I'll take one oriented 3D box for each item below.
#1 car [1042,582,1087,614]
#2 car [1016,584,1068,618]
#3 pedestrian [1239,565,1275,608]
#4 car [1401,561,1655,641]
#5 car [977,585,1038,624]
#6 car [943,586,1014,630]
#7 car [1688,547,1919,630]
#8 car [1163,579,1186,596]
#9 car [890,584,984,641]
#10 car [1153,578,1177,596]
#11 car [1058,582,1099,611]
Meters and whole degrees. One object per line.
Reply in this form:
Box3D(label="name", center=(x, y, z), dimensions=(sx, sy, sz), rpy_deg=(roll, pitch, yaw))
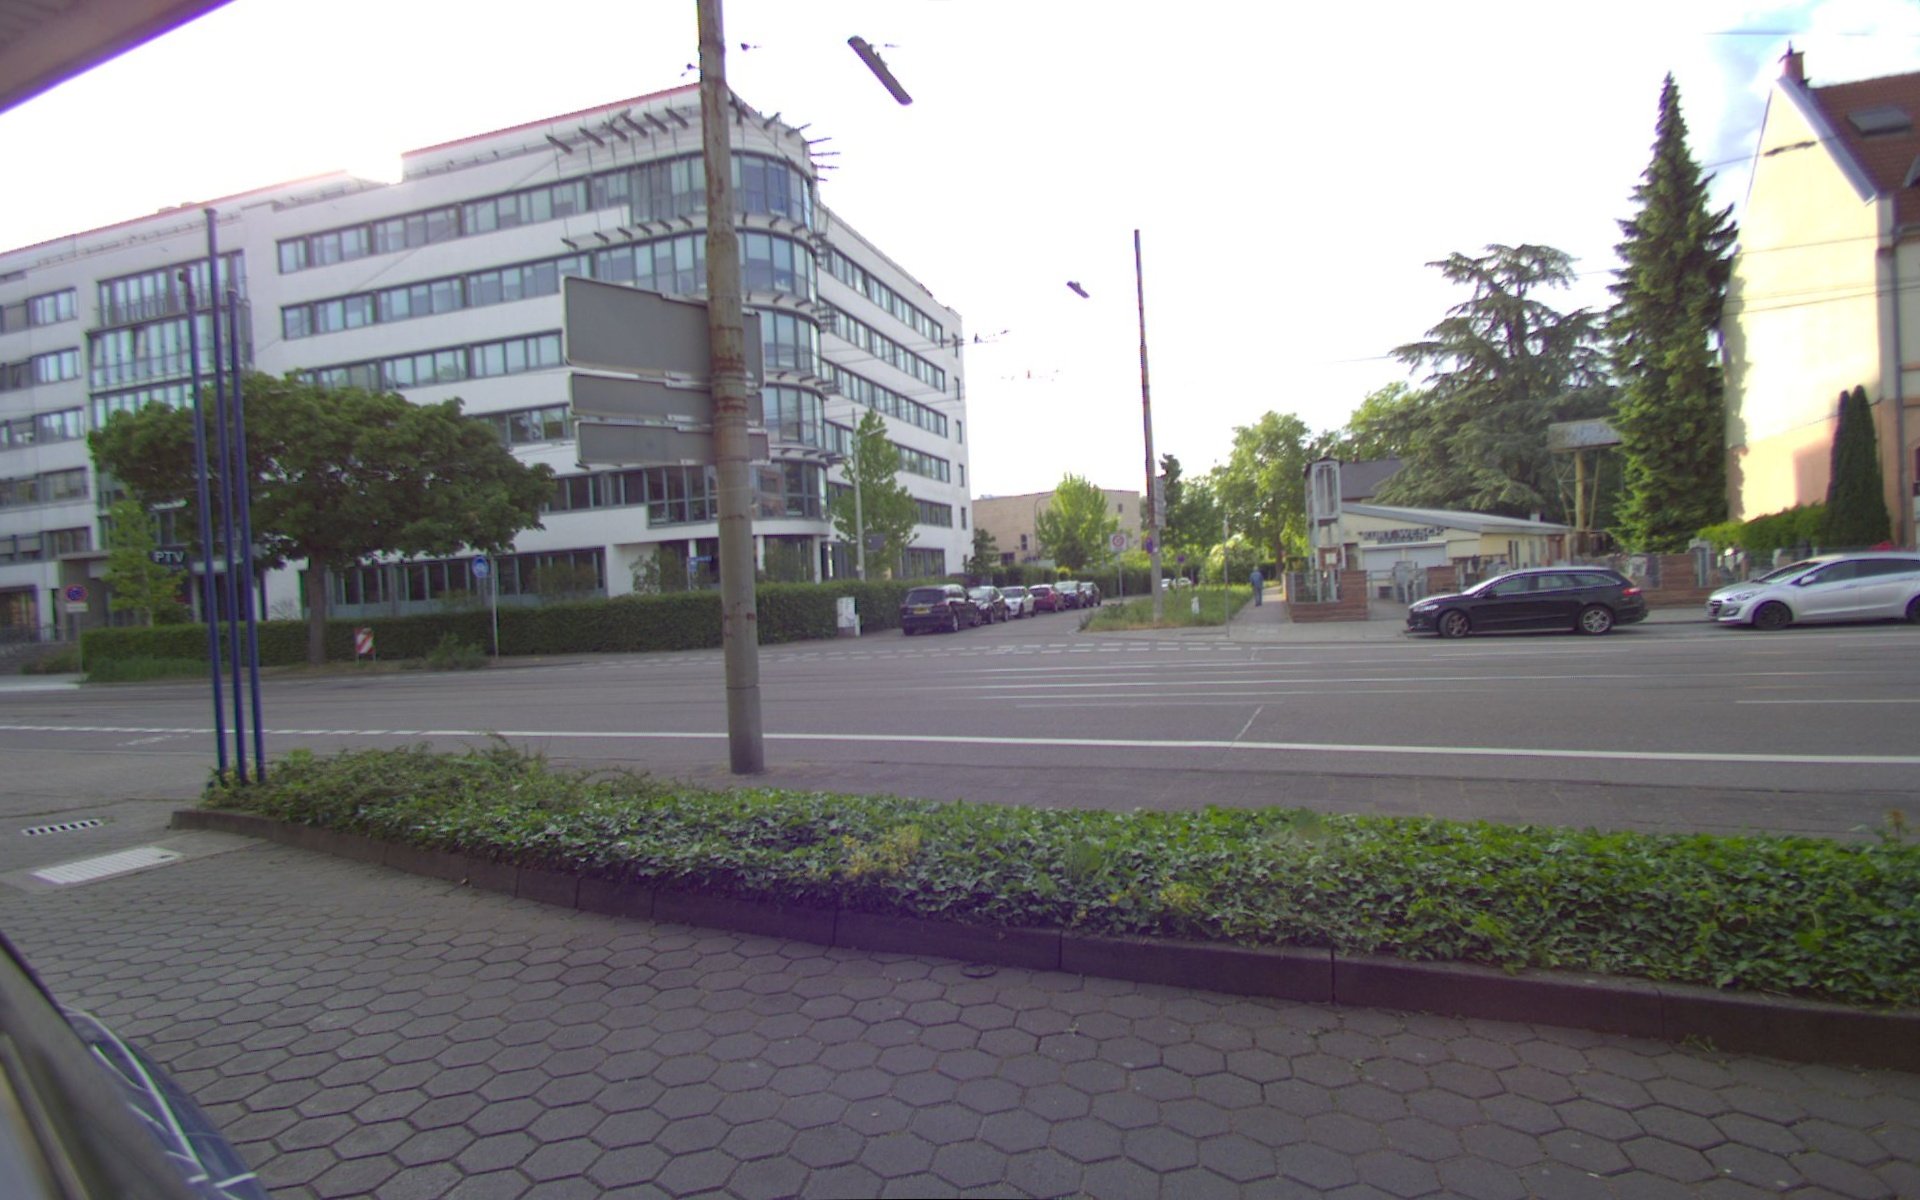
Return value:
Box3D(label="car", center=(5.982, -0.137, 57.661), dimensions=(1.773, 1.653, 4.064), rpy_deg=(-4, 0, 17))
Box3D(label="car", center=(4.288, 0.022, 52.360), dimensions=(1.773, 1.552, 4.018), rpy_deg=(-4, 0, 17))
Box3D(label="pedestrian", center=(12.979, -0.570, 44.250), dimensions=(1.074, 1.843, 1.009), rpy_deg=(-1, 0, -30))
Box3D(label="car", center=(12.917, 0.041, 23.415), dimensions=(4.791, 1.507, 1.986), rpy_deg=(-4, 0, 22))
Box3D(label="car", center=(2.207, 0.174, 45.755), dimensions=(1.773, 1.565, 4.083), rpy_deg=(-4, 0, 17))
Box3D(label="car", center=(0.799, 0.287, 40.893), dimensions=(1.773, 1.565, 4.083), rpy_deg=(-4, 0, 17))
Box3D(label="car", center=(18.493, -0.261, 21.498), dimensions=(4.459, 1.486, 1.986), rpy_deg=(-4, 0, 22))
Box3D(label="car", center=(22.566, -1.298, 106.311), dimensions=(1.774, 1.653, 4.060), rpy_deg=(-4, 0, 19))
Box3D(label="car", center=(-0.722, 0.379, 35.536), dimensions=(1.962, 1.625, 4.411), rpy_deg=(-4, 2, 17))
Box3D(label="car", center=(20.427, -1.269, 100.613), dimensions=(1.774, 1.653, 4.060), rpy_deg=(-4, 0, 19))
Box3D(label="car", center=(7.373, -0.234, 62.671), dimensions=(1.773, 1.653, 4.064), rpy_deg=(-4, 0, 17))
